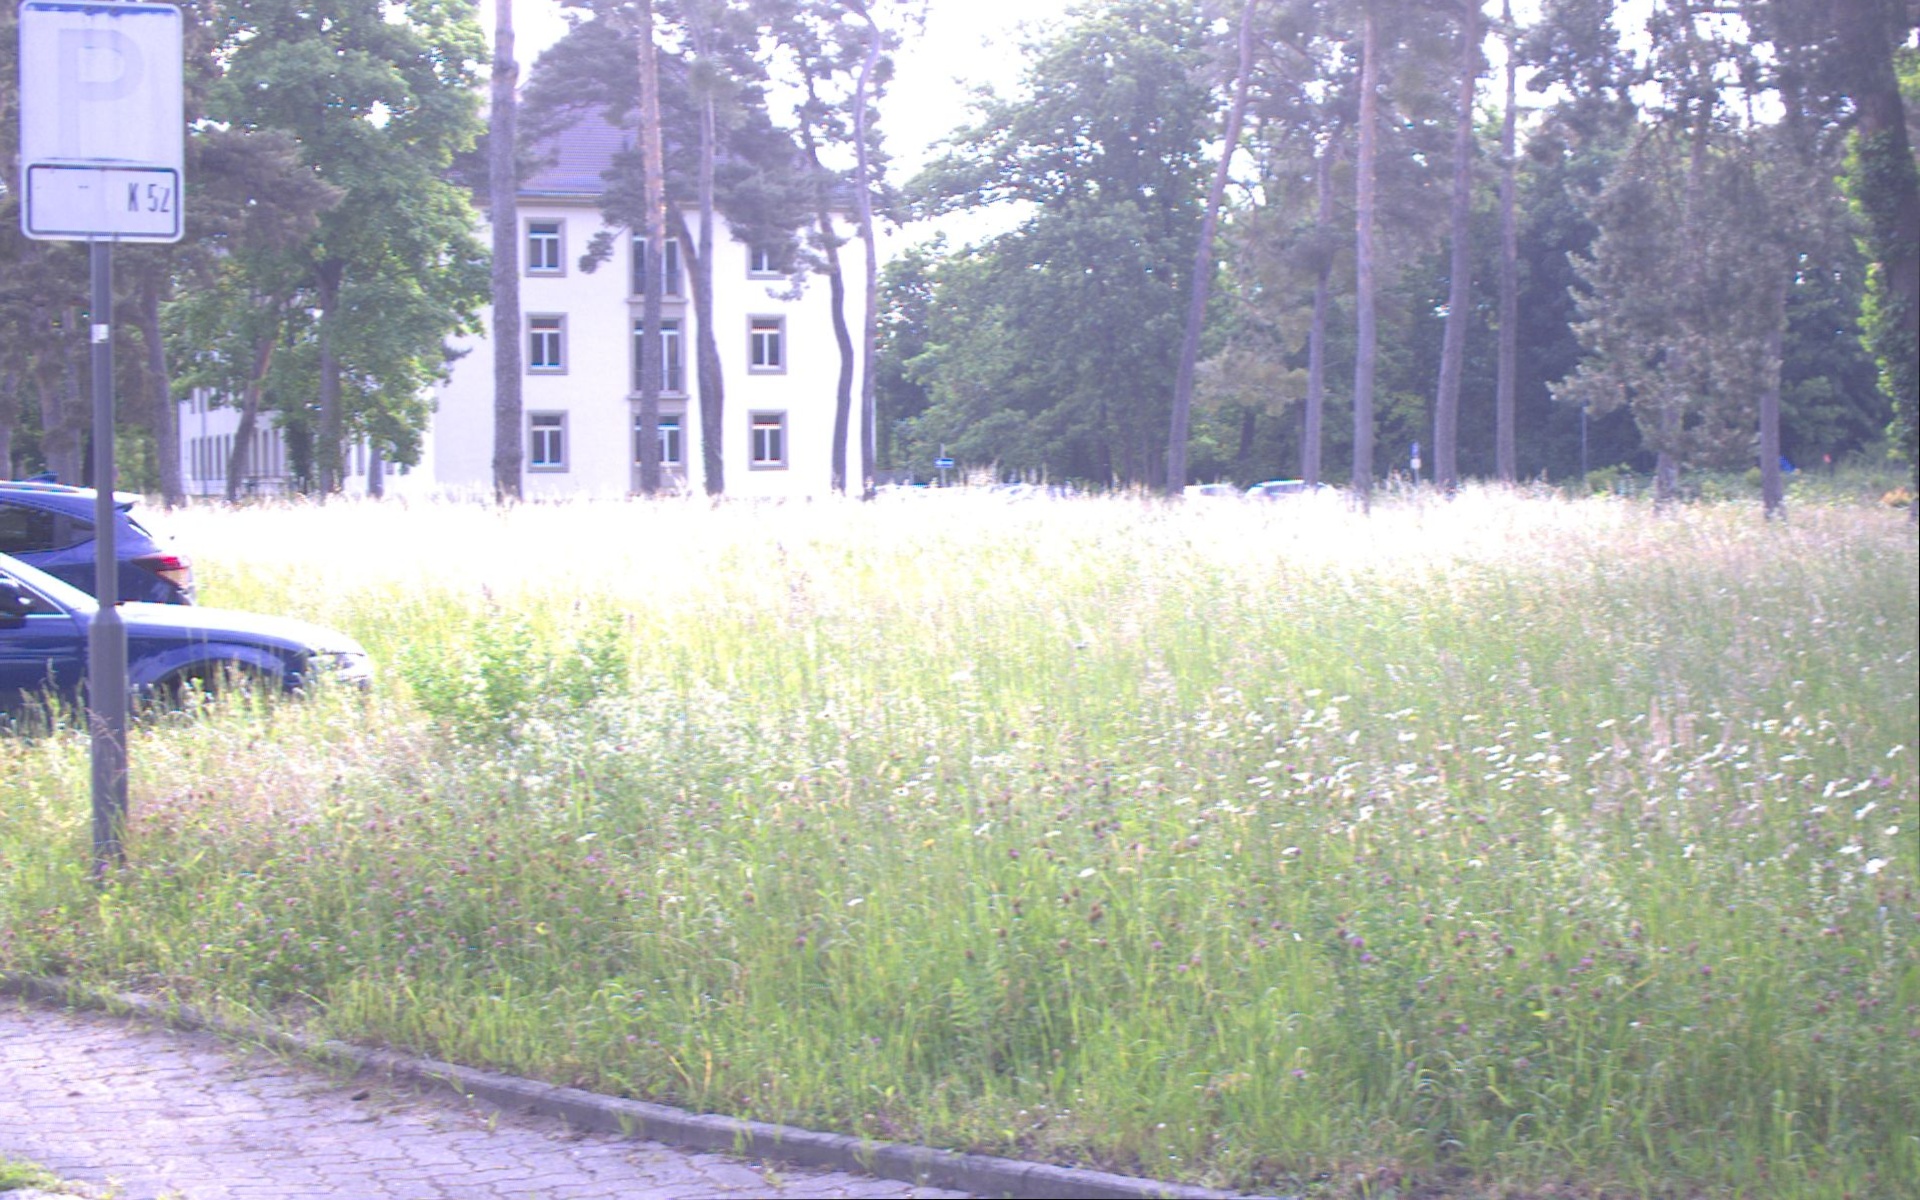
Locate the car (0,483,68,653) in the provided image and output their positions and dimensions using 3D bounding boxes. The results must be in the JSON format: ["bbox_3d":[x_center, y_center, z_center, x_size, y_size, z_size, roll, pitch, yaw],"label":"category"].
[{"bbox_3d":[-9.968,-0.245,30.284,3.883,1.473,1.672,-2,2,-21],"label":"car"}]

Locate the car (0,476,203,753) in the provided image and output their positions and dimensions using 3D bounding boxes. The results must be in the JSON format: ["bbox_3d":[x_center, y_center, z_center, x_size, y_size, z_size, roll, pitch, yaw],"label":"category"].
[{"bbox_3d":[-6.742,0.086,20.404,4.137,1.567,1.791,-2,3,-21],"label":"car"}]

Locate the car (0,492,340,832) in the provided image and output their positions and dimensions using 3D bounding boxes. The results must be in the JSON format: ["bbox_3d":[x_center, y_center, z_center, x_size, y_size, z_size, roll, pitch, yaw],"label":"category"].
[{"bbox_3d":[-5.199,0.286,15.800,4.430,1.474,1.683,-2,2,-17],"label":"car"}]
